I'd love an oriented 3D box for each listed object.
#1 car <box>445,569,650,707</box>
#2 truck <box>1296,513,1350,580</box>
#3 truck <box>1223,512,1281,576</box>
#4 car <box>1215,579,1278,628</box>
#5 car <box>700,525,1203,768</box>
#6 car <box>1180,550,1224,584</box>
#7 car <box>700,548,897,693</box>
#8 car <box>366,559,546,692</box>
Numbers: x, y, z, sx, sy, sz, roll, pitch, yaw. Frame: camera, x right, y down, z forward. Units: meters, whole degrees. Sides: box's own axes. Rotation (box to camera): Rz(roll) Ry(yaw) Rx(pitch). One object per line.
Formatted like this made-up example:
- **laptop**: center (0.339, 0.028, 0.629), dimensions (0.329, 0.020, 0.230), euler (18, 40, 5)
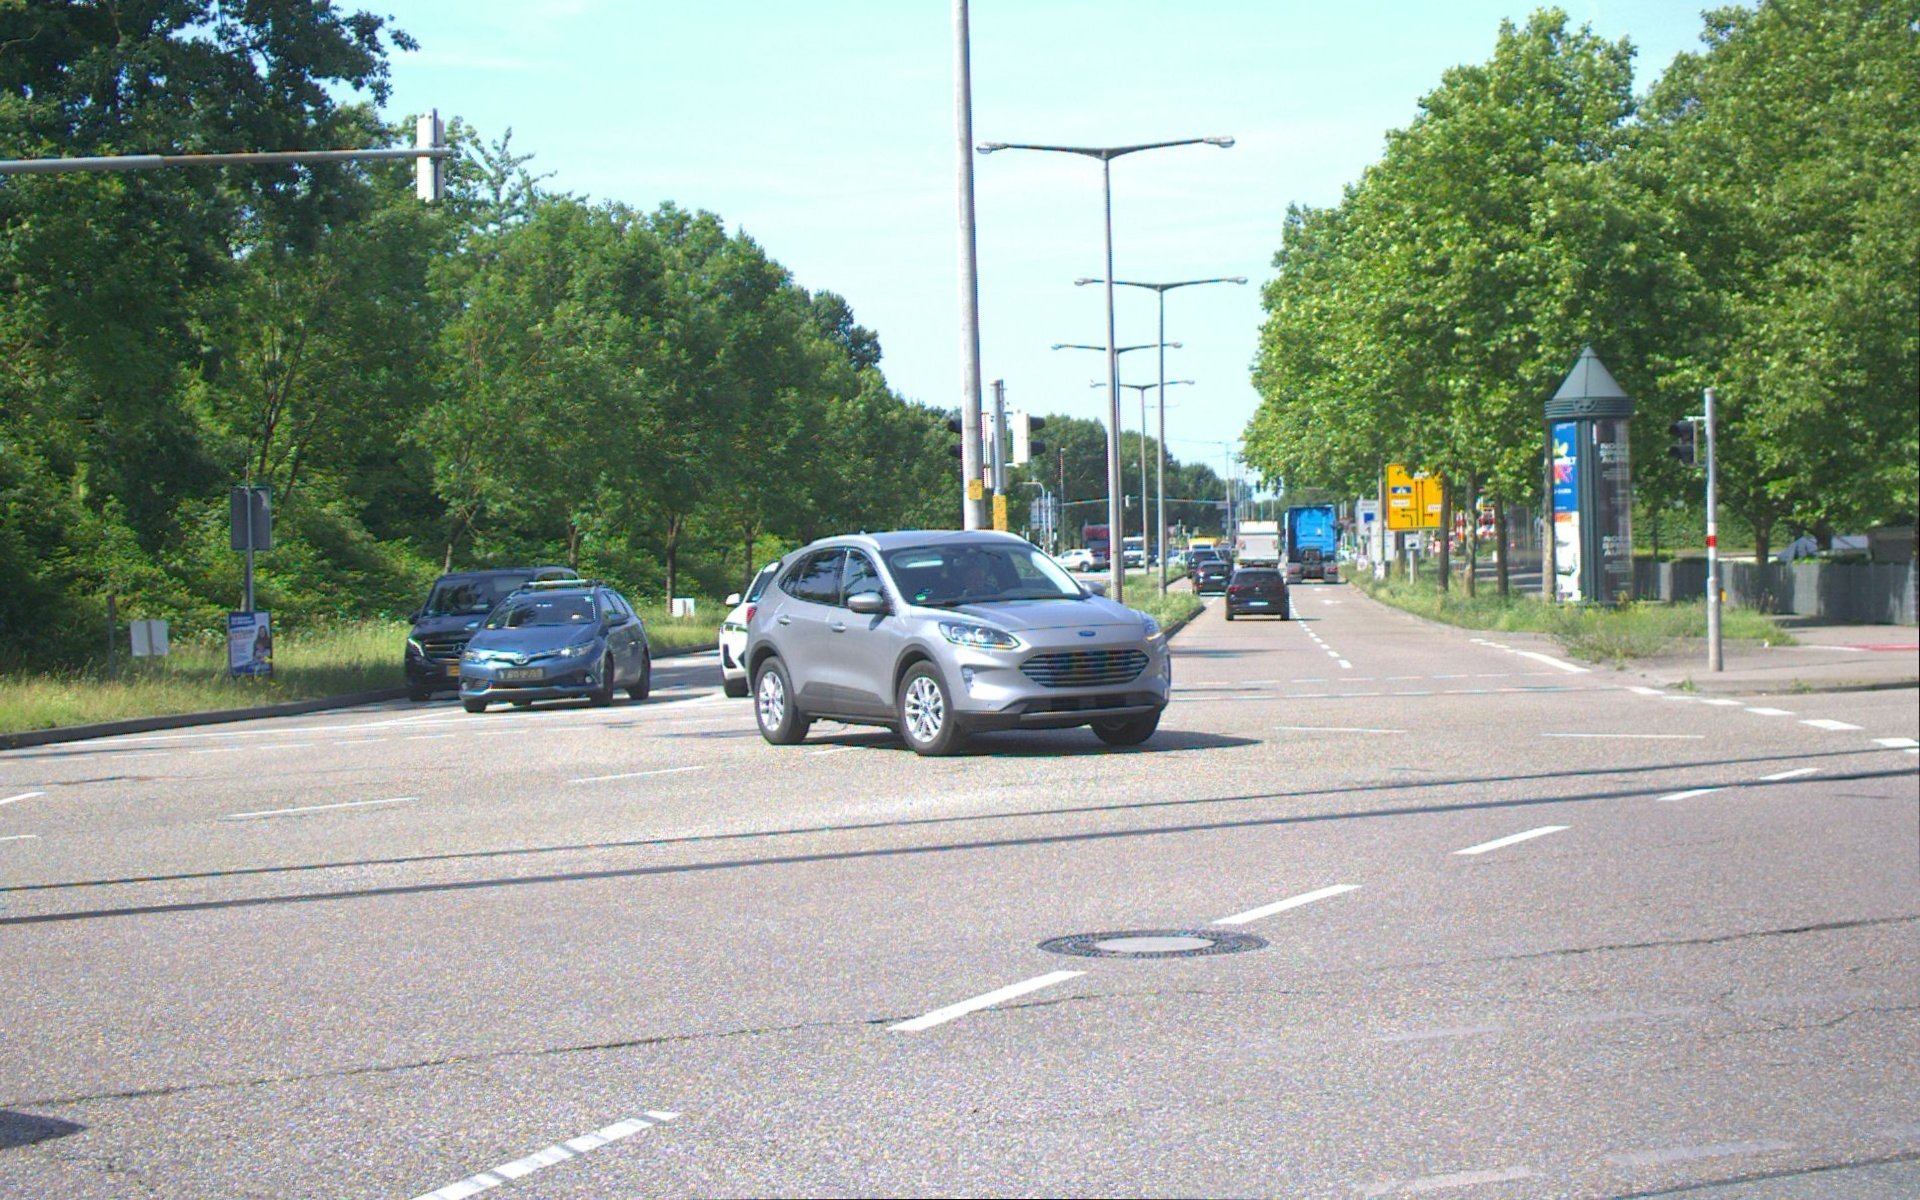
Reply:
- **car**: center (-5.007, 0.429, 42.232), dimensions (1.850, 1.556, 4.000), euler (-2, 1, 2)
- **truck**: center (24.721, -3.627, 233.628), dimensions (3.192, 4.340, 13.143), euler (-2, 1, 8)
- **truck**: center (17.038, -3.258, 200.426), dimensions (2.842, 3.565, 8.717), euler (-2, 1, 8)
- **car**: center (7.834, 0.094, 93.975), dimensions (1.643, 1.232, 3.252), euler (-2, 1, 5)
- **car**: center (-0.186, 0.319, 26.536), dimensions (1.990, 1.645, 4.656), euler (-2, 1, -26)
- **car**: center (10.125, -1.381, 143.639), dimensions (1.749, 1.340, 4.377), euler (-2, 1, 5)
- **car**: center (-1.980, 0.214, 43.547), dimensions (1.910, 1.683, 4.626), euler (-2, 1, 4)
- **car**: center (-7.319, 0.340, 50.277), dimensions (1.850, 1.808, 4.000), euler (-2, 1, 2)
